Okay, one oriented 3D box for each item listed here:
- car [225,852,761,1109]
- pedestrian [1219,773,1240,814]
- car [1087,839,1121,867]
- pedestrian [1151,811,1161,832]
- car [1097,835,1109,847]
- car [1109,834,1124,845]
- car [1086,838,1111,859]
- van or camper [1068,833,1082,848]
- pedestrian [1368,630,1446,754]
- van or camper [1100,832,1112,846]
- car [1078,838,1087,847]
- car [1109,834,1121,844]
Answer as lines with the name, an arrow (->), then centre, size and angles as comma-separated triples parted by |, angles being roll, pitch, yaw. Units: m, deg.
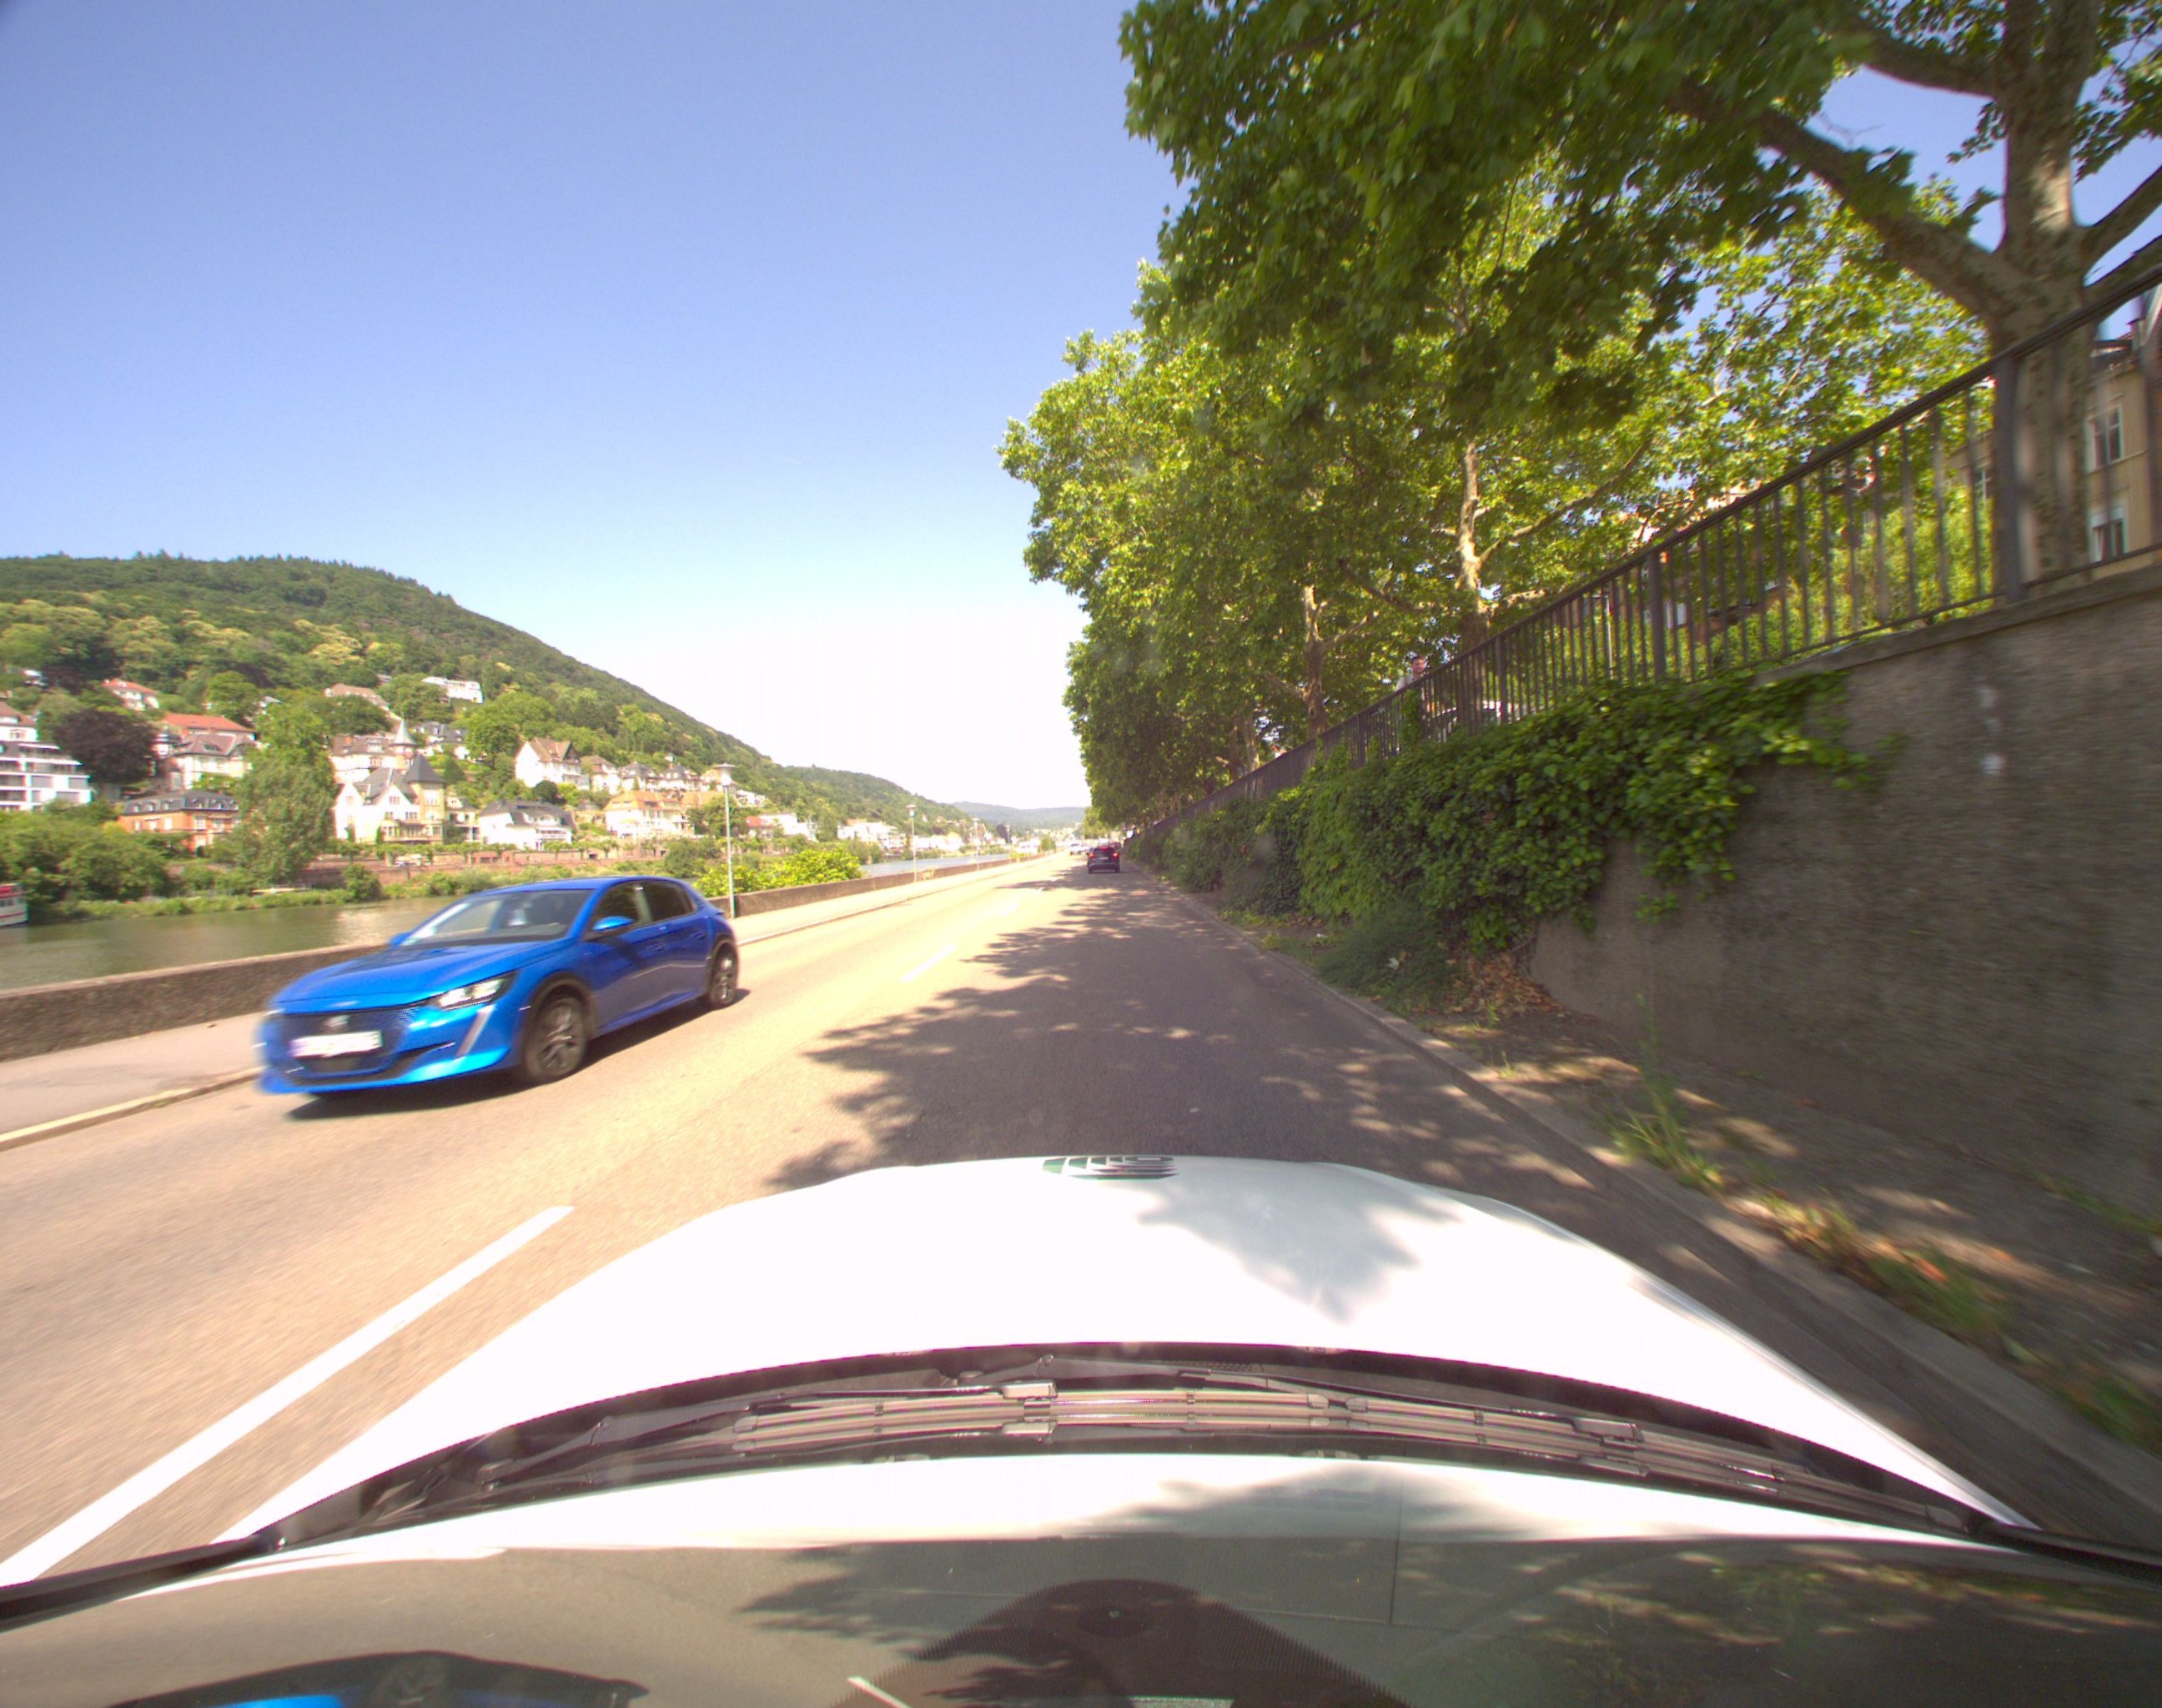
car -> -4.493, 0.798, 7.116 | 1.666, 1.441, 3.903 | -5, 1, 1
pedestrian -> 6.225, -2.546, 34.228 | 0.646, 1.640, 0.625 | -3, 1, -7
car -> 1.305, -0.070, 46.875 | 1.822, 1.486, 4.001 | -2, 1, 1
pedestrian -> 5.859, -2.564, 63.508 | 0.662, 1.591, 0.651 | -3, 1, 1
car -> 4.184, -2.463, 154.484 | 1.987, 2.169, 4.000 | -4, 1, 0
car -> 7.791, -3.272, 180.725 | 3.088, 2.013, 5.825 | -5, 1, 1
car -> 1.301, -0.447, 62.110 | 1.822, 1.511, 4.001 | -2, 1, 1
van or camper -> -1.042, -2.391, 145.652 | 2.070, 2.398, 5.387 | -4, 1, 1
pedestrian -> 4.679, -2.306, 11.738 | 0.734, 1.591, 0.811 | -3, 1, 1
van or camper -> 5.129, -3.079, 167.810 | 2.300, 2.847, 4.249 | -4, 1, 3
car -> 0.273, -2.455, 171.927 | 1.725, 1.650, 4.178 | -4, 1, 1
car -> 8.011, -3.519, 193.135 | 2.653, 2.013, 5.825 | -5, 1, 1
